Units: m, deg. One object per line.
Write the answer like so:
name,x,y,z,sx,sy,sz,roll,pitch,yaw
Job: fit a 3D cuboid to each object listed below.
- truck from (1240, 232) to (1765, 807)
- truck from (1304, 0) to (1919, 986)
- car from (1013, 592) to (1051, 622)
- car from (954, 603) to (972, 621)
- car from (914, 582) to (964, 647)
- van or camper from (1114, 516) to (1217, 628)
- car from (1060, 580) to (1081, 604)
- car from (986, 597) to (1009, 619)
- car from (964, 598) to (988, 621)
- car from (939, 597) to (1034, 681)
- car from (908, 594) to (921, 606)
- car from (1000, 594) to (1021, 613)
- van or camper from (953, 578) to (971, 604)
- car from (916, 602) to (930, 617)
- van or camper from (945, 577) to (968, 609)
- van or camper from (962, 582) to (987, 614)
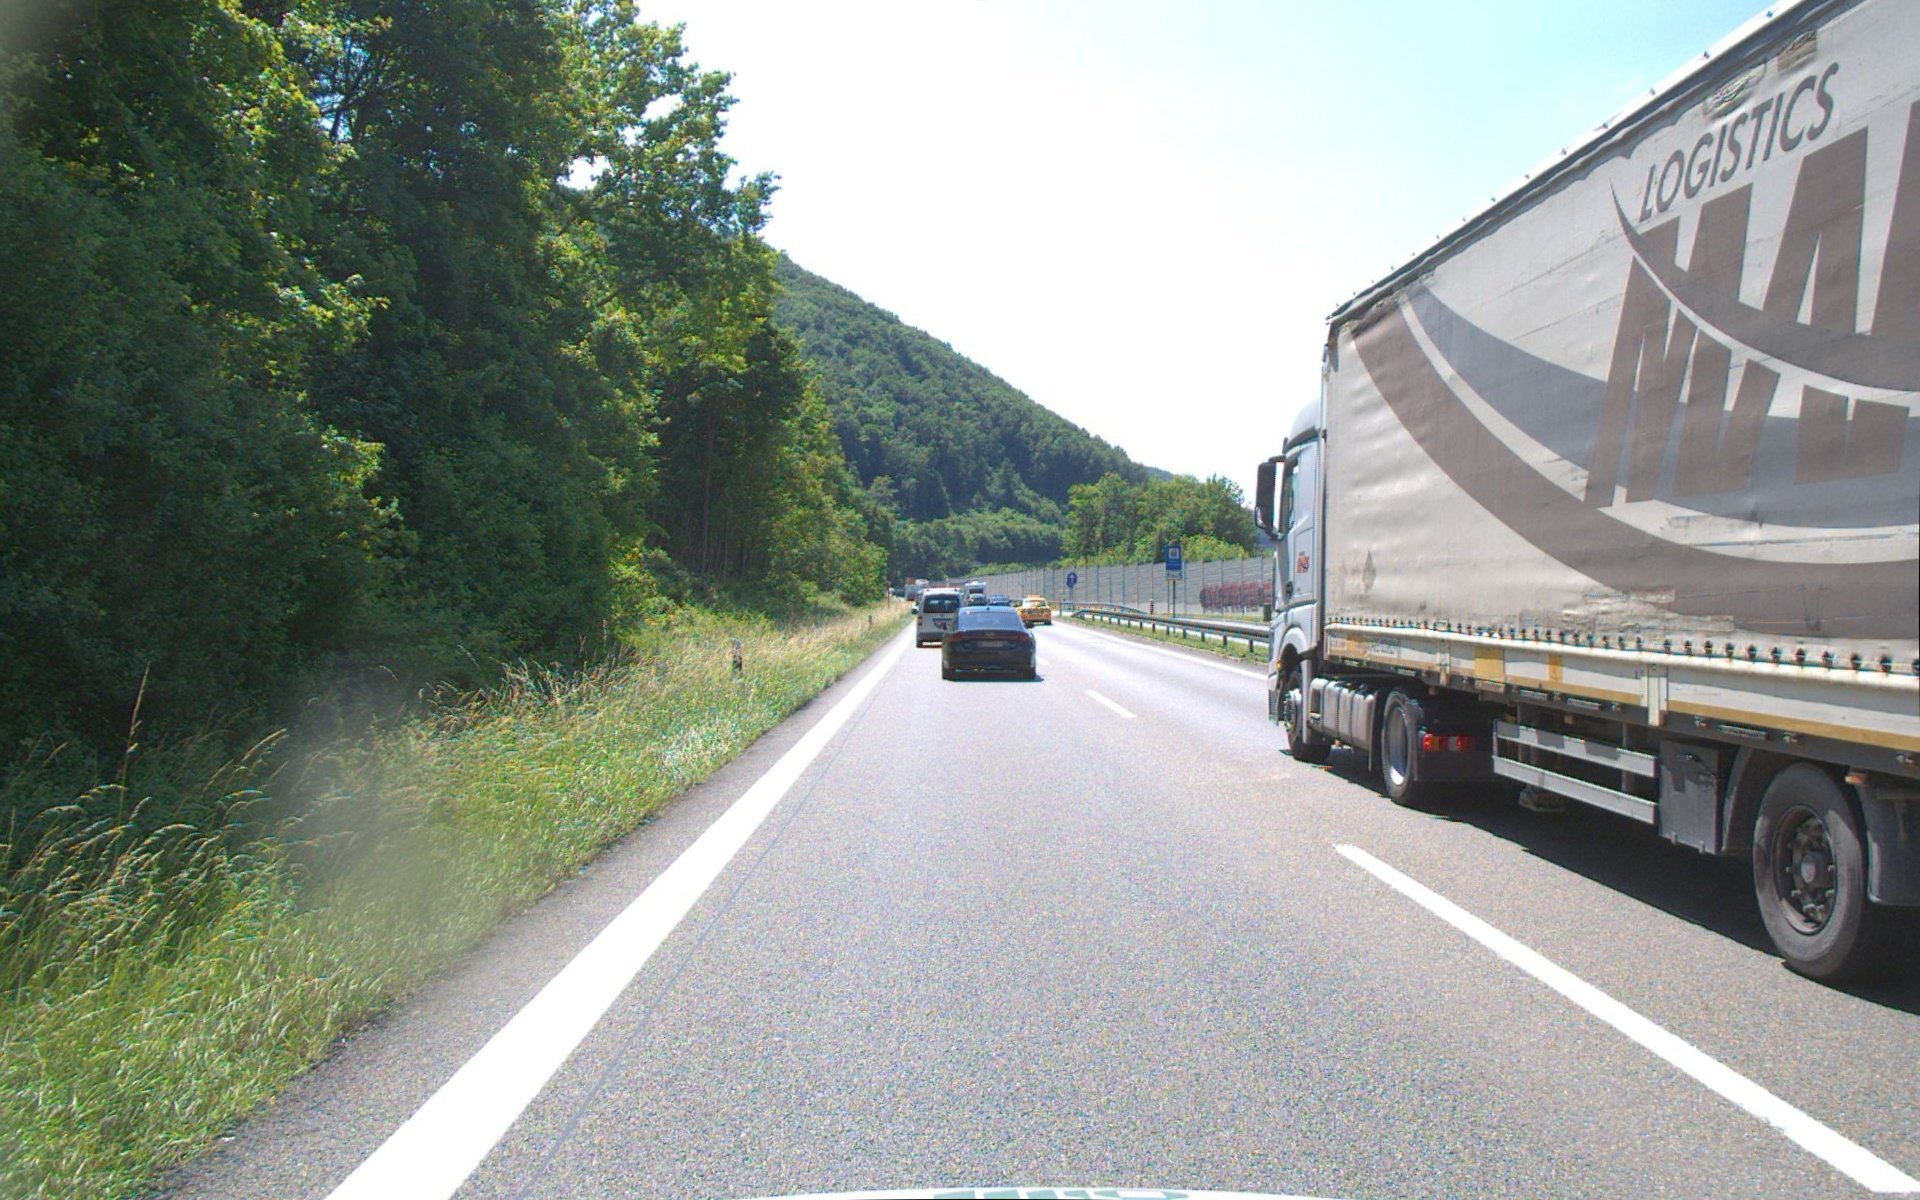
truck,4.496,-0.552,15.056,2.664,4.139,5.752,2,-1,-2
truck,4.697,-0.640,8.156,2.671,4.139,13.736,2,-1,-2
car,3.927,0.392,90.240,1.840,1.525,3.999,1,0,-1
car,0.224,1.093,147.245,1.499,1.551,3.596,3,-1,-1
car,-0.694,0.485,54.919,1.490,2.002,3.513,4,-1,-1
van or camper,7.724,-0.986,62.853,2.739,3.908,6.163,3,-1,-3
car,9.495,-0.699,142.527,1.544,2.049,3.427,1,0,-1
car,2.782,0.618,122.102,1.499,1.551,3.596,3,-1,-1
car,1.539,0.919,159.981,2.044,2.049,3.999,3,-1,-1
car,0.481,0.736,33.244,1.775,1.541,3.514,-1,1,-1
car,-5.943,0.005,216.176,1.458,1.522,3.589,3,-1,-1
car,5.473,0.389,180.581,1.953,2.049,3.998,1,0,-2
van or camper,0.286,-1.303,255.570,2.399,3.753,6.586,3,-1,-1
car,-4.314,1.098,192.136,1.458,1.694,3.589,3,-1,-1
van or camper,-0.484,-0.915,220.780,2.739,3.975,6.163,3,-1,-3
van or camper,1.515,-0.186,173.826,2.380,3.210,5.202,3,-1,-1
